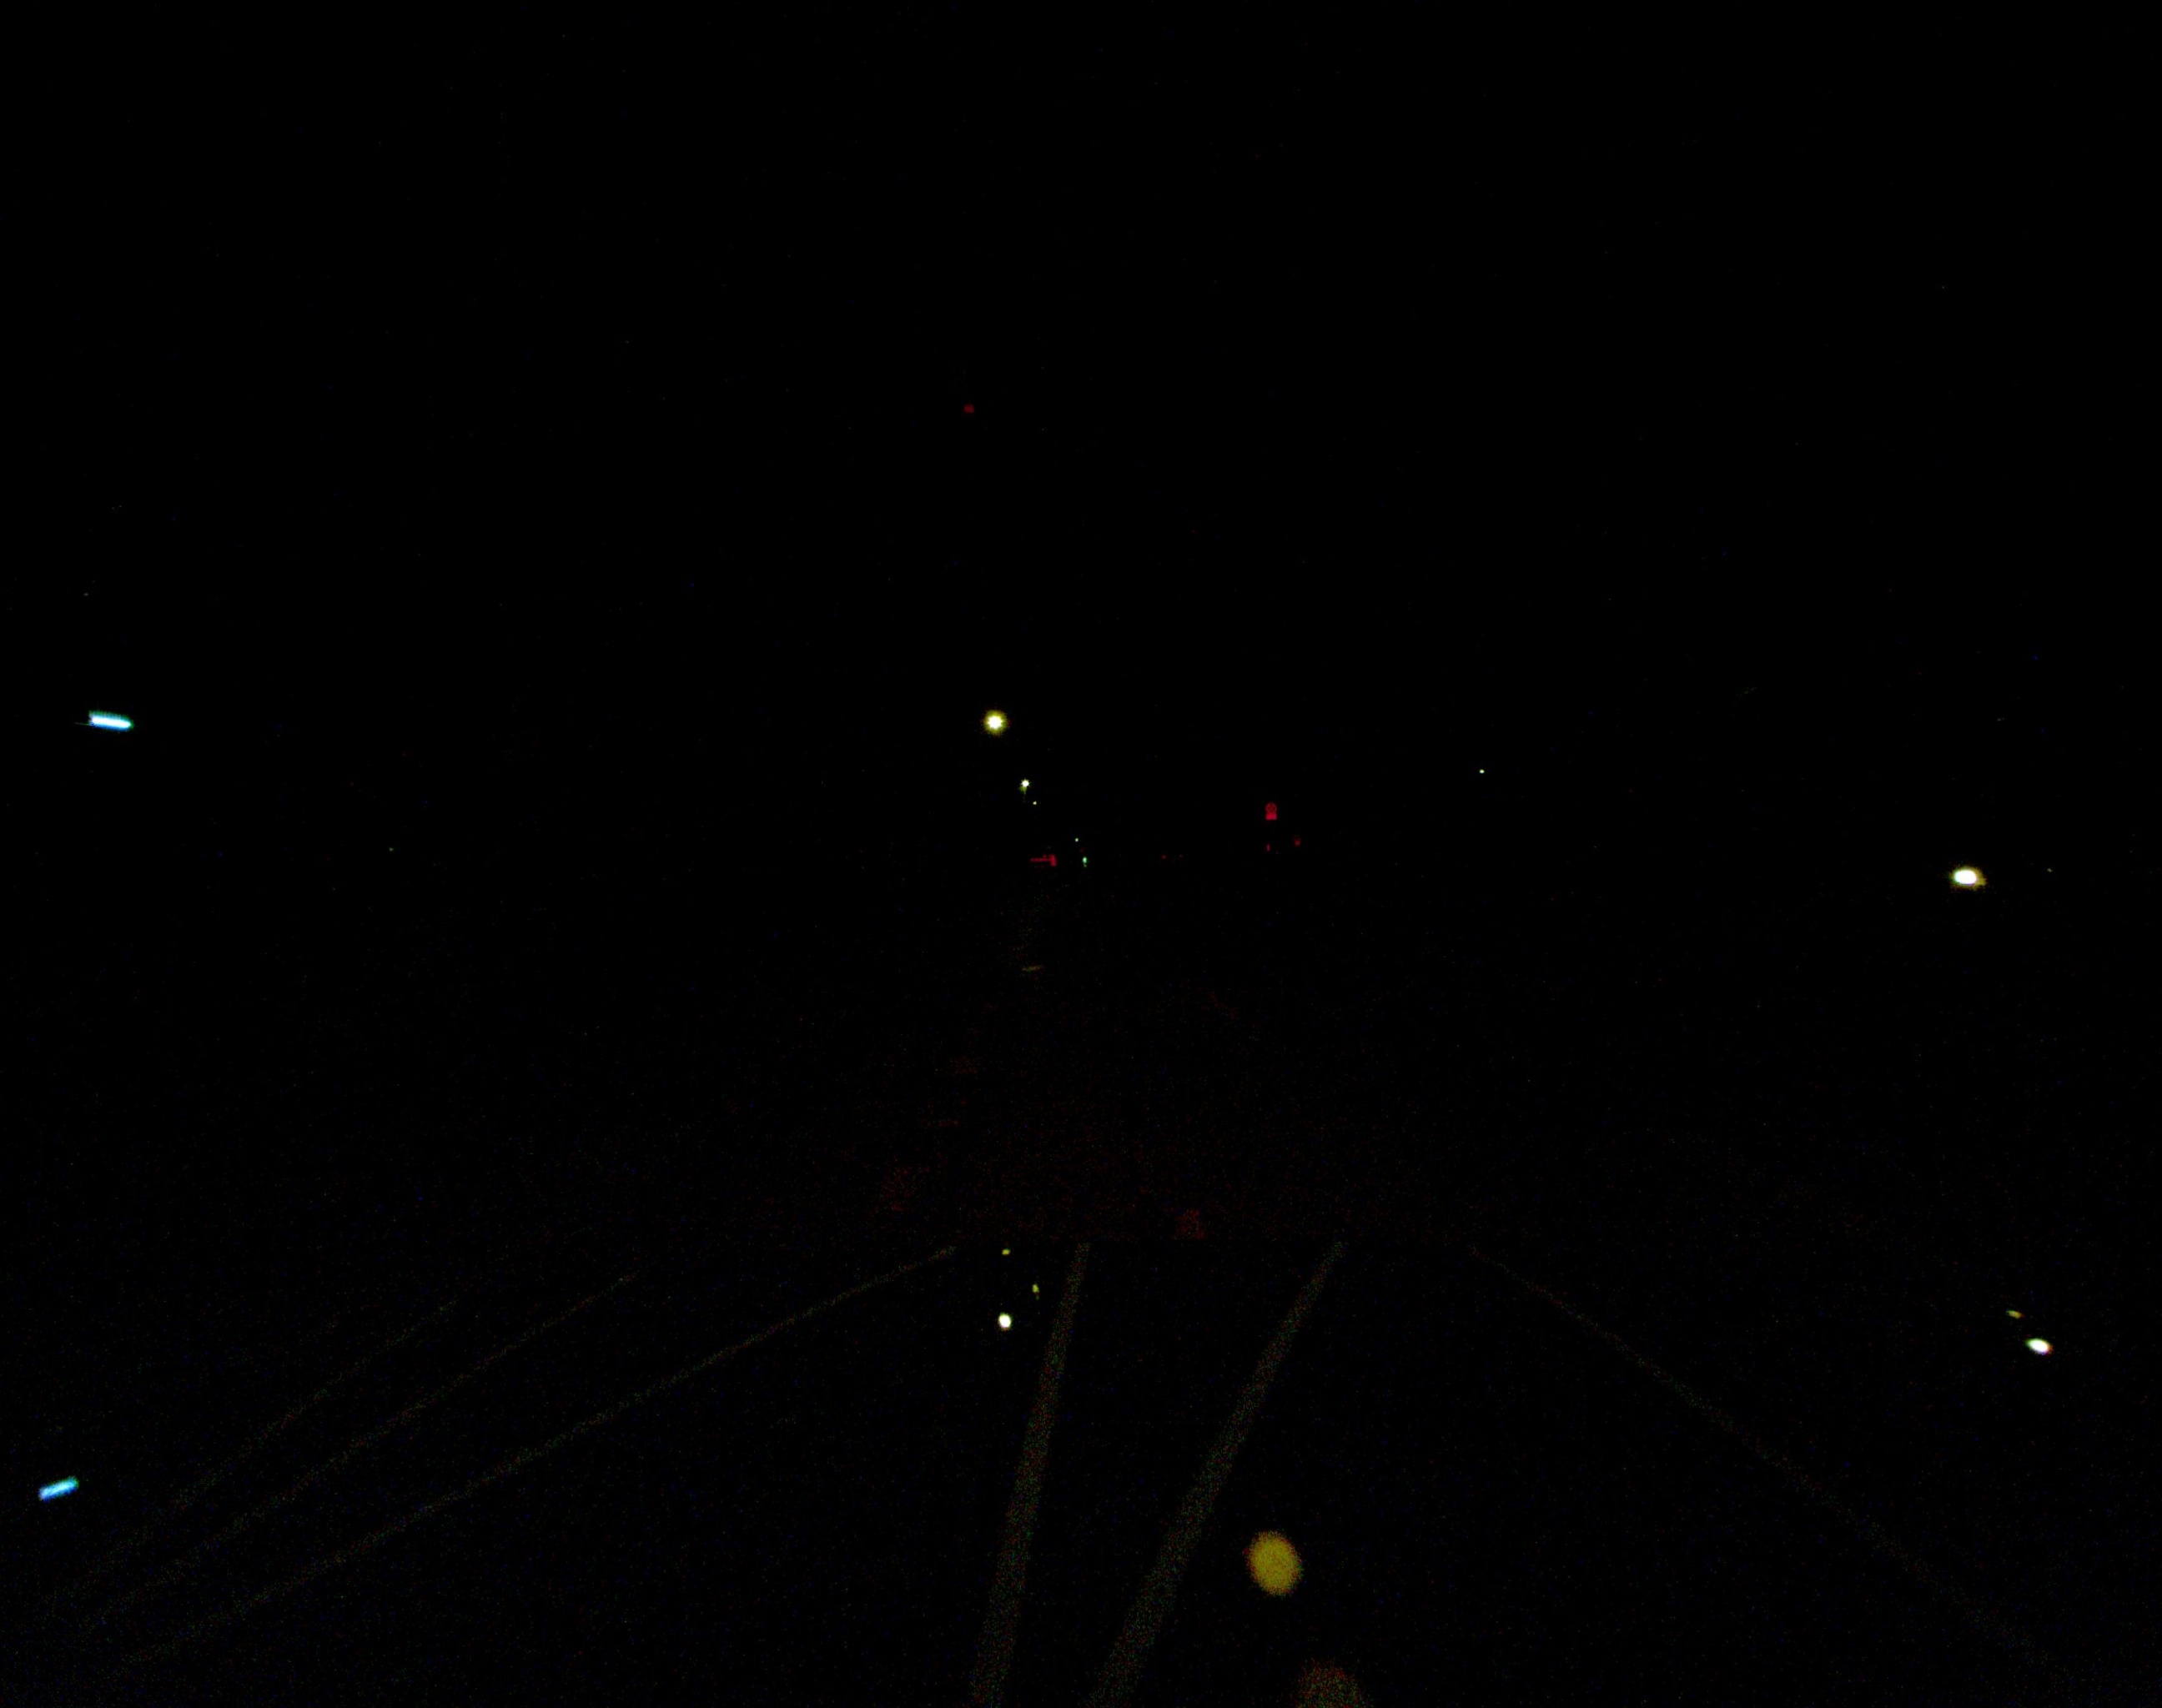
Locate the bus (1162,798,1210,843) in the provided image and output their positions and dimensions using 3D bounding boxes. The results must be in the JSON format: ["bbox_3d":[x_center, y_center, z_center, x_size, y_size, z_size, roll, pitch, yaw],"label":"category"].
[{"bbox_3d":[17.560,-5.537,128.996,6.135,6.898,14.781,-2,1,1],"label":"bus"}]

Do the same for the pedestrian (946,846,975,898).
[{"bbox_3d":[-4.424,0.657,27.897,0.819,1.854,1.034,-2,1,1],"label":"pedestrian"}]

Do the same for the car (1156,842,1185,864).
[{"bbox_3d":[7.111,-0.087,60.866,1.806,1.583,3.999,-2,1,0],"label":"car"}]

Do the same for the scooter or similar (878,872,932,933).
[{"bbox_3d":[-3.695,1.005,16.022,0.468,1.195,1.137,-2,0,24],"label":"scooter or similar"}]

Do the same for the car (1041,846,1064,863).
[{"bbox_3d":[-2.905,0.057,78.192,1.998,1.638,4.000,1,2,4],"label":"car"}]

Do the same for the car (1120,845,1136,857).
[{"bbox_3d":[6.206,-0.374,100.428,1.863,1.484,4.080,-2,1,1],"label":"car"}]
